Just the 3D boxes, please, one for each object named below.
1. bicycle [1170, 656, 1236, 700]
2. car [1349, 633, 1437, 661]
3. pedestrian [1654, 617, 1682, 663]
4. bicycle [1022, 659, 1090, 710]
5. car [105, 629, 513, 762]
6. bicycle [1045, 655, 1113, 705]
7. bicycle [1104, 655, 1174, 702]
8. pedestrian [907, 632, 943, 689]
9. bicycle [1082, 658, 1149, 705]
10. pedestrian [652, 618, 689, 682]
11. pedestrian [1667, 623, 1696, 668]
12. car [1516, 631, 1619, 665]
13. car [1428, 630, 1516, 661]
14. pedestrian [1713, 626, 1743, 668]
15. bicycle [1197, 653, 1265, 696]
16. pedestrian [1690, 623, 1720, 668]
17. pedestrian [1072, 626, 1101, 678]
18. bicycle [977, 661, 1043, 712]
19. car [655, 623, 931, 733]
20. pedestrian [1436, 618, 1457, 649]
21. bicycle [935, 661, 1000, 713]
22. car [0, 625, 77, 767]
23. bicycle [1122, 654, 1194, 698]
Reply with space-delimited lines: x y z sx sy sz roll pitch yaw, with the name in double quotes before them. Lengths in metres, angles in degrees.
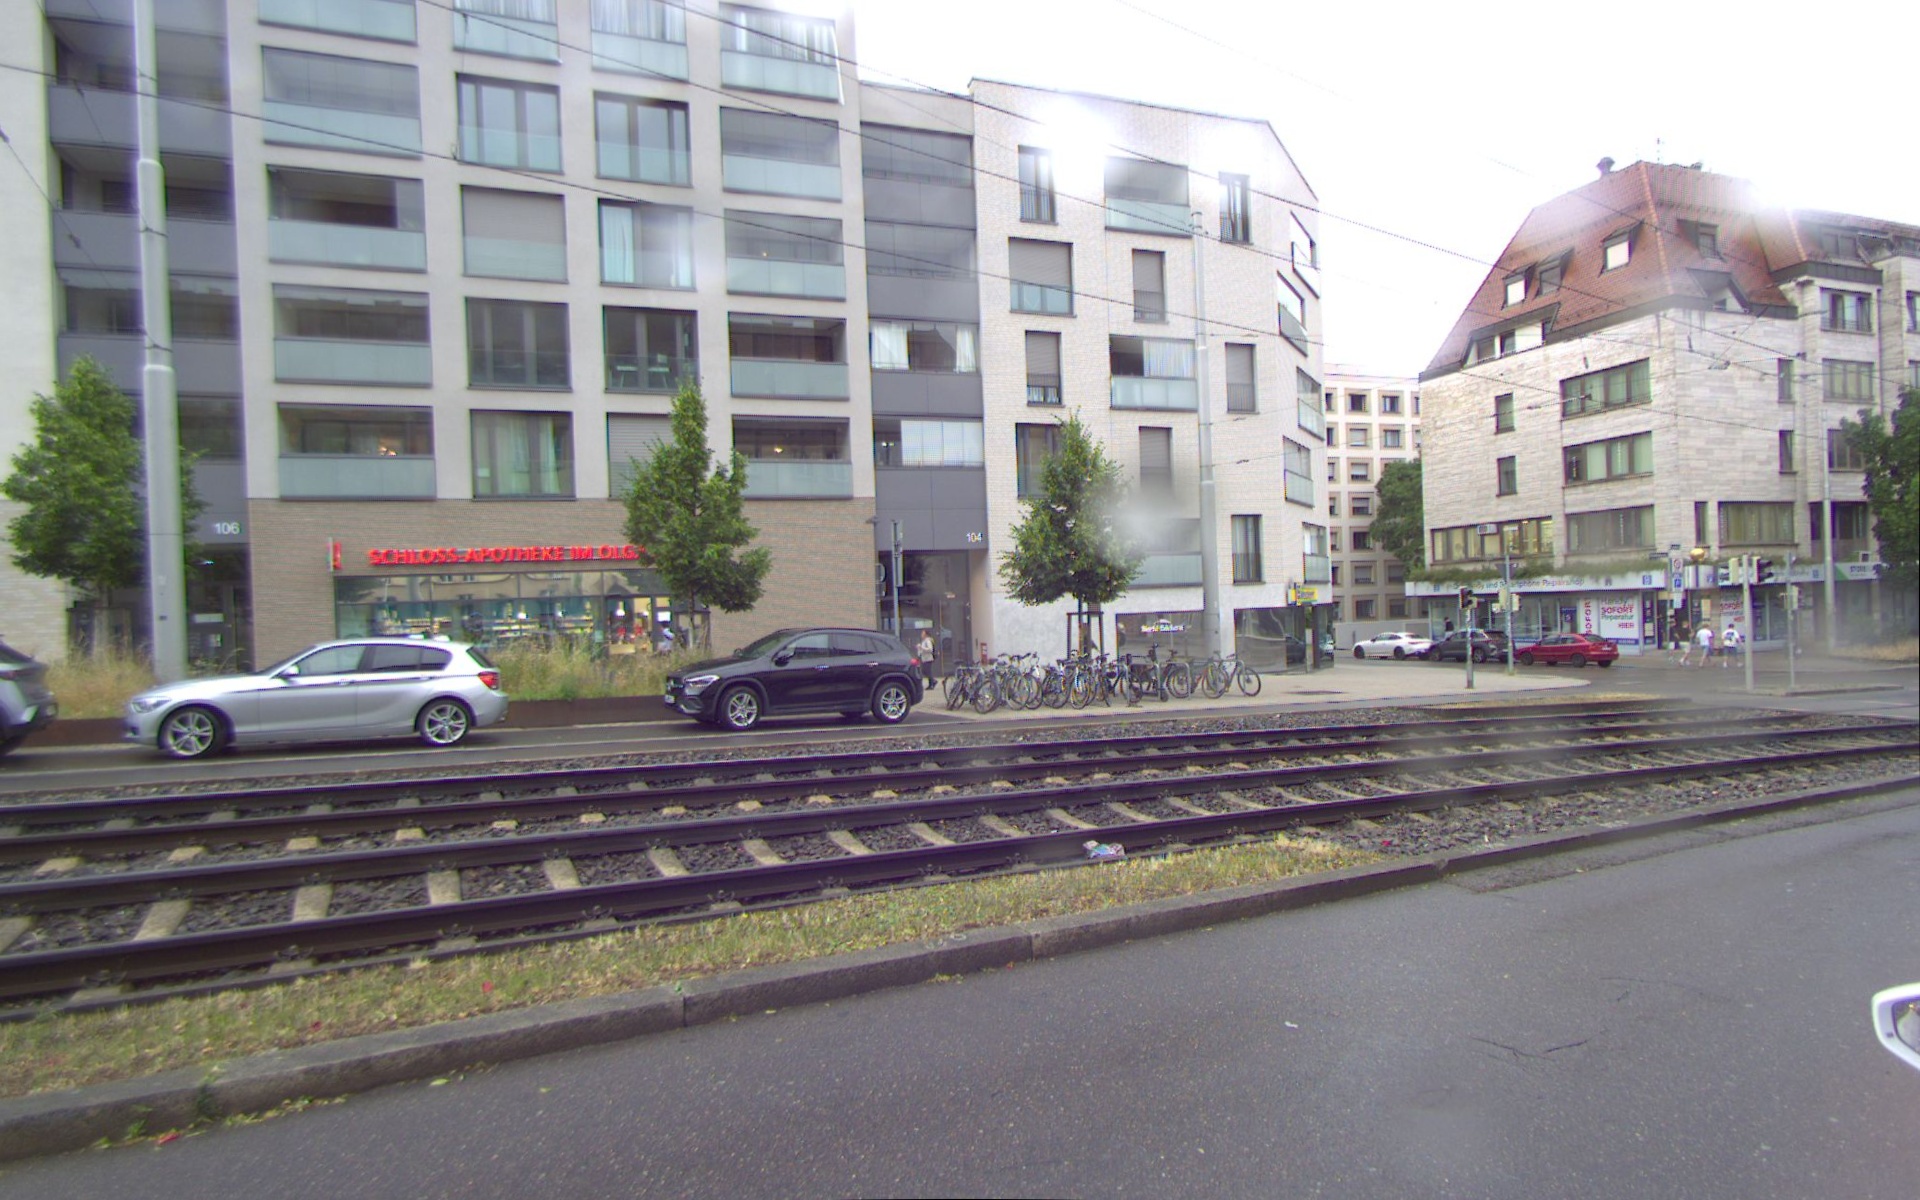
"bicycle" 5.778 1.843 23.974 0.383 0.888 1.774 1 0 -31
"car" 22.399 2.396 52.167 1.570 1.335 4.482 1 -2 -20
"pedestrian" 29.275 1.647 41.545 0.674 1.867 0.646 1 1 -22
"bicycle" 1.982 1.734 20.931 0.383 0.930 1.772 1 -1 -34
"car" -8.371 1.160 13.347 4.280 1.484 1.671 2 -1 -31
"bicycle" 2.556 1.710 21.808 0.383 0.930 1.772 1 0 -34
"bicycle" 4.106 1.796 23.115 0.384 0.930 1.770 1 0 -38
"pedestrian" -0.931 1.591 26.378 0.790 1.468 0.538 2 0 -18
"bicycle" 3.465 1.810 22.496 0.383 0.930 1.772 1 -1 -34
"pedestrian" -6.847 1.174 23.723 0.790 1.468 0.656 2 0 -18
"pedestrian" 28.891 1.817 40.208 0.674 1.772 0.646 1 1 -22
"car" 25.894 2.015 42.952 1.568 1.335 3.692 1 -2 -18
"car" 24.186 2.133 47.576 1.570 1.335 3.689 1 -2 -20
"pedestrian" 29.558 1.806 38.666 0.674 1.569 0.646 1 0 -22
"bicycle" 6.680 1.830 24.837 0.436 0.993 1.773 1 -2 -34
"pedestrian" 29.183 1.777 39.346 0.674 1.747 0.646 1 1 -22
"pedestrian" 3.921 1.601 31.092 0.637 1.590 0.775 0 -1 33
"bicycle" 1.004 1.749 20.656 0.383 0.930 1.772 1 -1 -34
"car" -2.762 1.236 16.955 4.280 1.625 1.671 2 -1 -31
"pedestrian" 25.824 1.777 53.331 0.640 1.569 0.680 1 0 -21
"bicycle" 0.128 1.727 20.210 0.383 0.930 1.772 1 -1 -34
"car" -12.403 1.048 10.910 4.010 1.550 1.669 2 -1 -35
"bicycle" 4.747 1.811 24.172 1.764 0.930 0.385 0 -1 44
